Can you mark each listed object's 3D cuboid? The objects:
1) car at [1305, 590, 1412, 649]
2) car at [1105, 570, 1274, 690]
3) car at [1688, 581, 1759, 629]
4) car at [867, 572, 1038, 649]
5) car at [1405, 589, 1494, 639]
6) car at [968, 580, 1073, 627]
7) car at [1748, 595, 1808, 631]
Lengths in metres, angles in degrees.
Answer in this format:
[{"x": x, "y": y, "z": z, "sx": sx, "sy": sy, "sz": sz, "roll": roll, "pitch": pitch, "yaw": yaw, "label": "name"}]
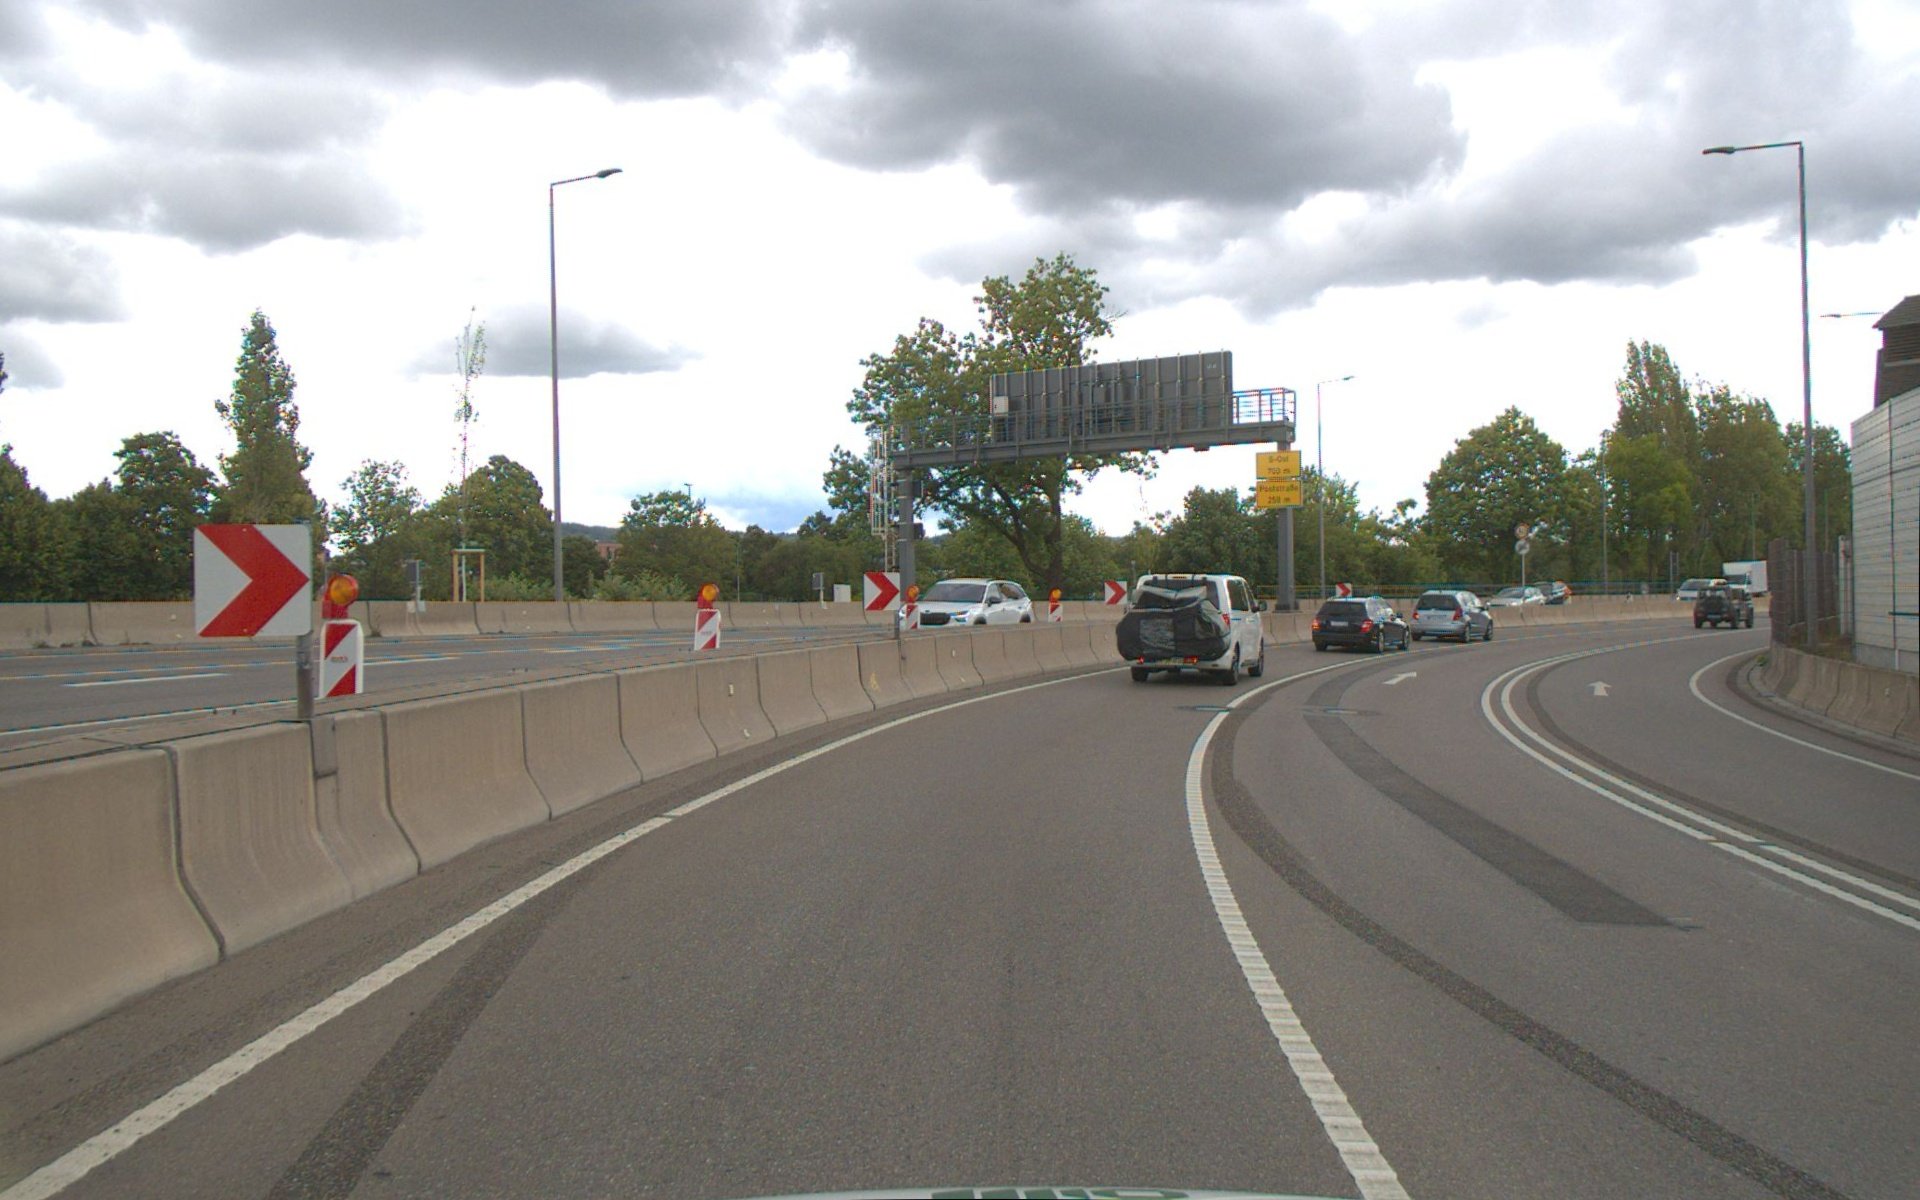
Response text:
[{"x": 10.690, "y": 0.505, "z": 44.212, "sx": 1.780, "sy": 1.459, "sz": 4.059, "roll": -2, "pitch": 0, "yaw": 28, "label": "car"}, {"x": 4.246, "y": 0.433, "z": 29.771, "sx": 1.951, "sy": 1.891, "sz": 5.643, "roll": 2, "pitch": 2, "yaw": 19, "label": "car"}, {"x": 31.294, "y": 0.201, "z": 67.731, "sx": 1.959, "sy": 1.892, "sz": 3.986, "roll": -1, "pitch": -1, "yaw": 35, "label": "car"}, {"x": -0.073, "y": 0.192, "z": 37.135, "sx": 2.055, "sy": 1.579, "sz": 5.142, "roll": 1, "pitch": 1, "yaw": 22, "label": "car"}, {"x": 15.536, "y": 0.403, "z": 52.395, "sx": 1.884, "sy": 1.515, "sz": 4.058, "roll": 0, "pitch": 1, "yaw": 29, "label": "car"}, {"x": 2.018, "y": 0.108, "z": 53.896, "sx": 1.889, "sy": 1.476, "sz": 3.995, "roll": 1, "pitch": 0, "yaw": 27, "label": "car"}, {"x": 41.421, "y": 0.651, "z": 83.741, "sx": 1.962, "sy": 1.702, "sz": 3.982, "roll": 2, "pitch": 1, "yaw": 38, "label": "car"}]
